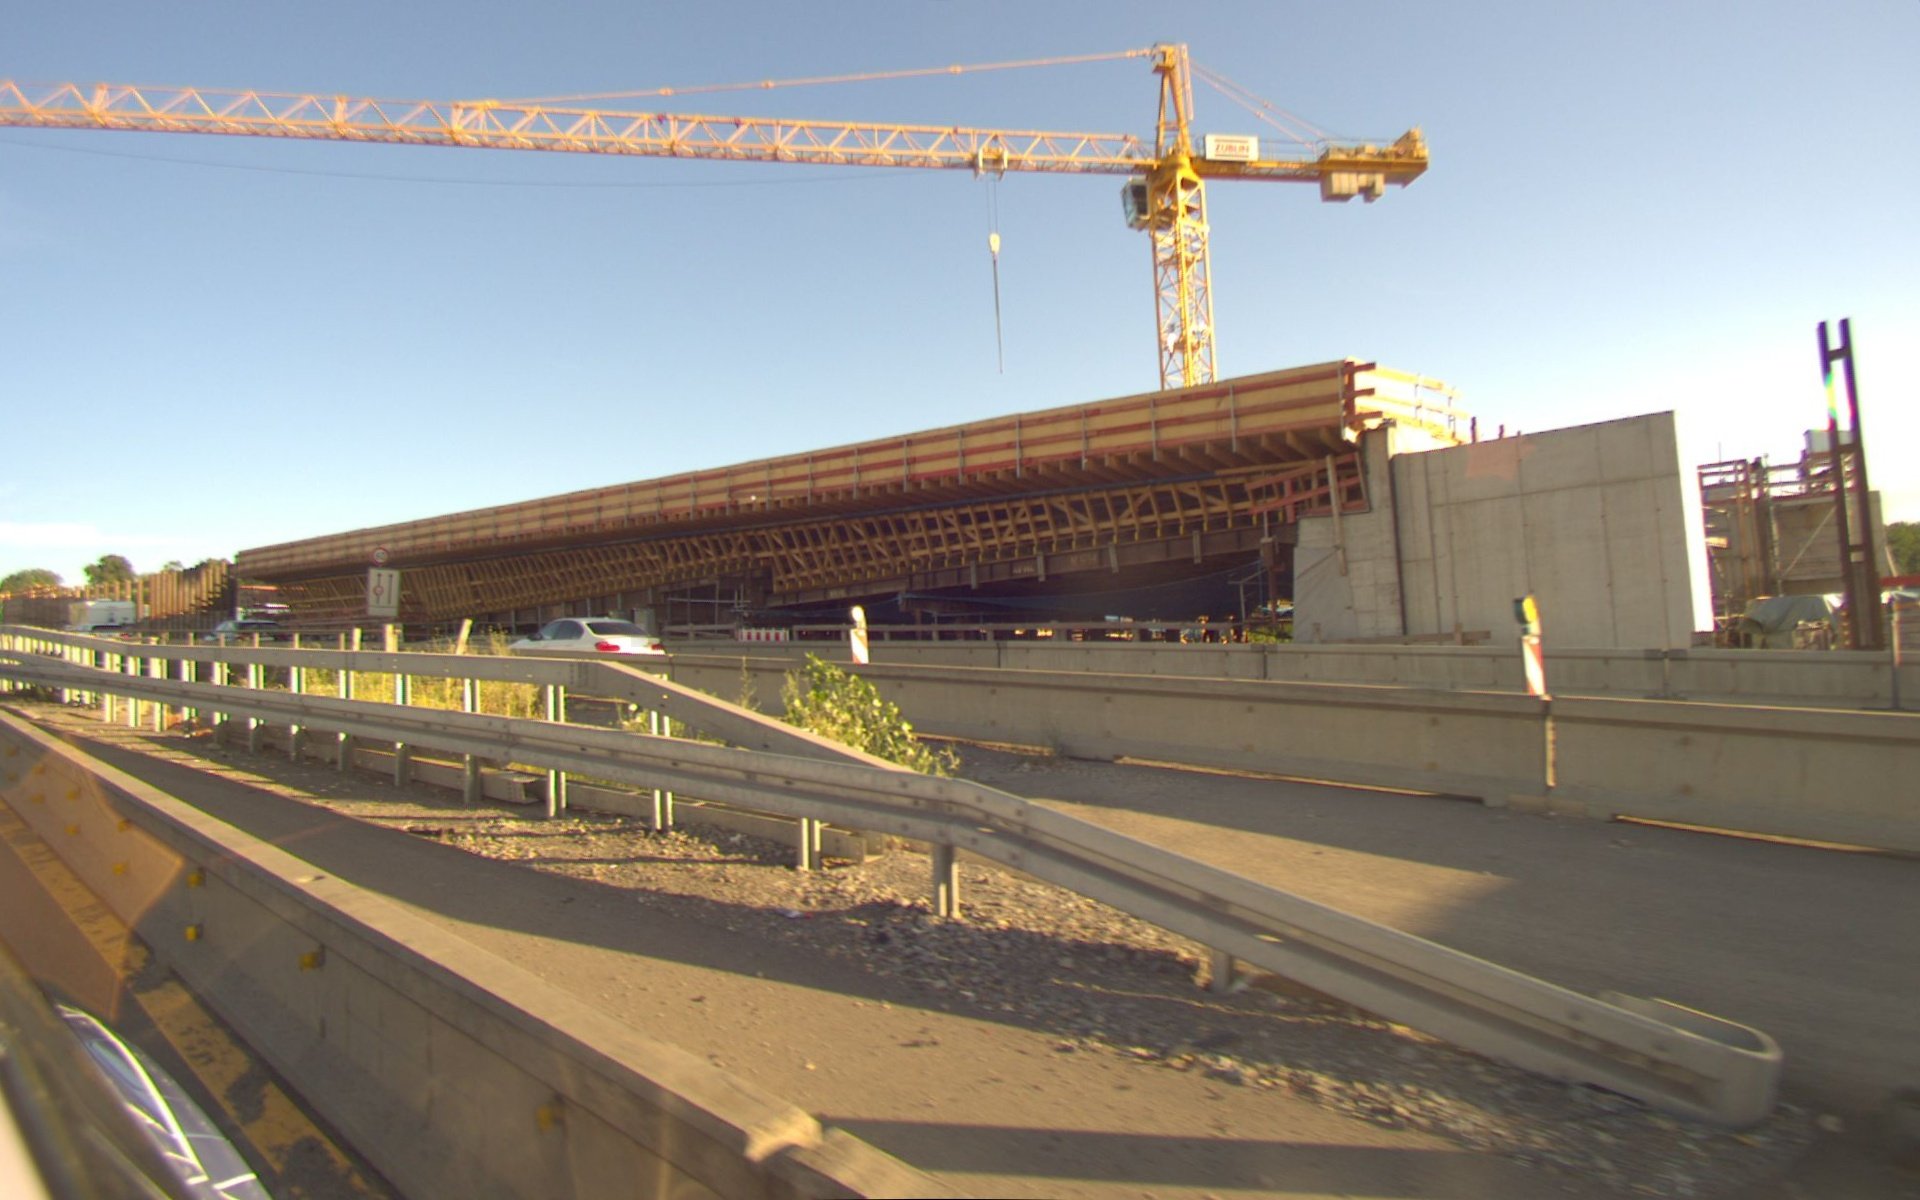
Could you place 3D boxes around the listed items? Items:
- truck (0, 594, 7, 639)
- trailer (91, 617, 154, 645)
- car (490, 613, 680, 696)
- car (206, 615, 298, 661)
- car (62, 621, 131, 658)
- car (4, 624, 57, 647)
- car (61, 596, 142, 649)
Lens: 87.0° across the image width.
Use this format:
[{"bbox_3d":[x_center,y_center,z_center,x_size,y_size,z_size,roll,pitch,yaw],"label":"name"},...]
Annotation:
[{"bbox_3d":[-83.128,1.460,85.552,7.153,3.754,2.762,-1,-1,38],"label":"truck"},{"bbox_3d":[-47.046,1.722,56.849,2.140,1.524,2.301,-1,-1,36],"label":"trailer"},{"bbox_3d":[-8.242,1.128,22.044,4.655,1.613,1.713,-1,-1,39],"label":"car"},{"bbox_3d":[-25.029,1.301,35.714,3.997,1.401,1.644,-1,3,41],"label":"car"},{"bbox_3d":[-40.820,1.835,47.819,4.107,1.613,1.713,-1,-1,38],"label":"car"},{"bbox_3d":[-55.899,2.099,60.833,4.107,1.287,1.713,-1,-1,38],"label":"car"},{"bbox_3d":[-50.368,1.302,59.328,6.151,2.989,2.307,-1,-1,37],"label":"car"}]
